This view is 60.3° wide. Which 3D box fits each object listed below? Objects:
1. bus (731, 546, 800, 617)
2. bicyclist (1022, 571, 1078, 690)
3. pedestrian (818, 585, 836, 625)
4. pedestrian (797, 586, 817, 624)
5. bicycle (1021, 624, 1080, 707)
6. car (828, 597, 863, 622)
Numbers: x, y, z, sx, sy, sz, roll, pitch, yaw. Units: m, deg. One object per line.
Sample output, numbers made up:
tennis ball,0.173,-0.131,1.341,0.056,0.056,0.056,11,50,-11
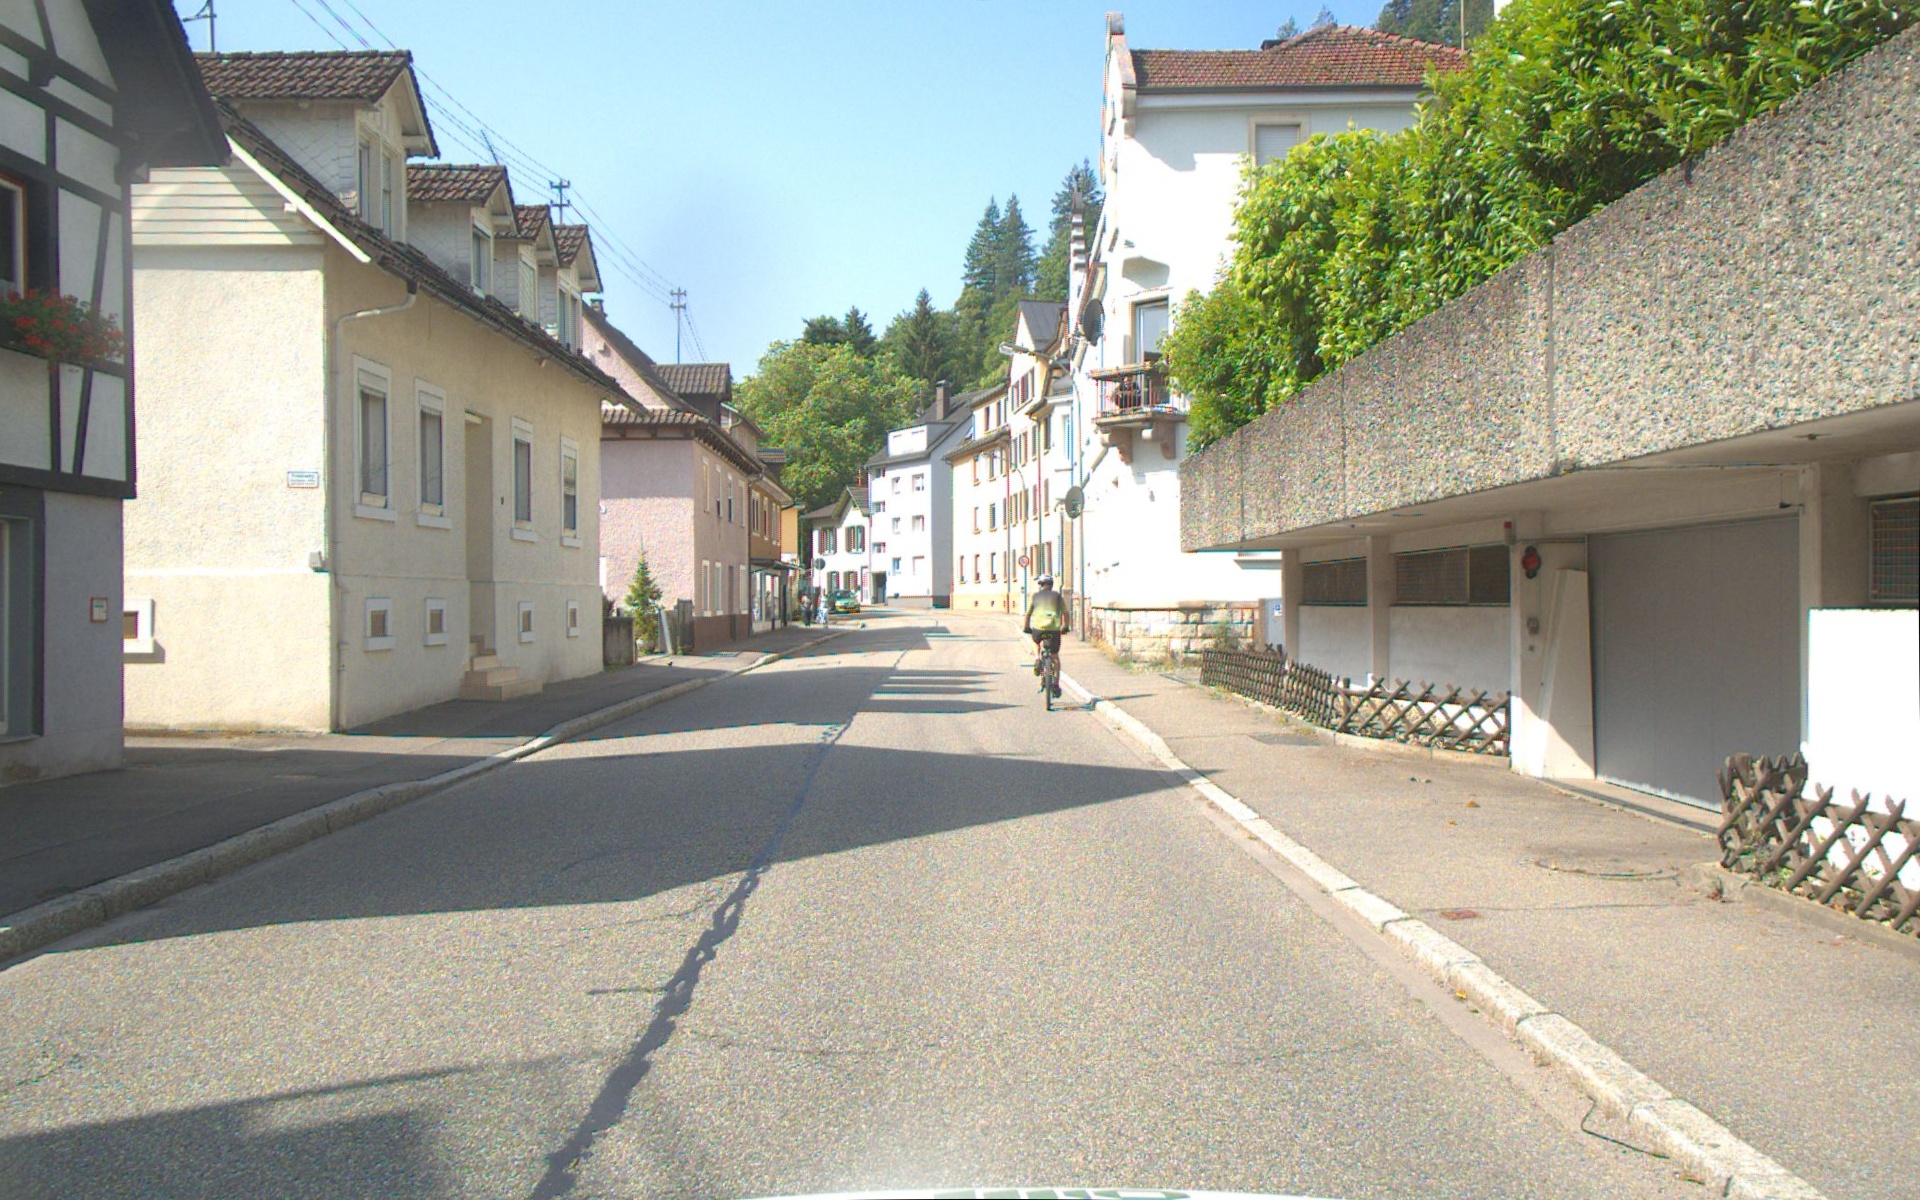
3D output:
bus,-9.554,-0.901,82.166,2.764,3.284,9.030,1,0,-3
bicyclist,1.204,0.408,22.236,0.672,1.558,0.715,-1,0,-2
pedestrian,-5.644,0.209,70.171,0.626,1.654,0.777,2,0,0
pedestrian,-6.512,0.206,70.295,0.720,1.592,0.824,2,0,0
bicycle,1.208,0.867,22.340,0.684,1.053,1.471,0,1,-2
car,-7.252,0.607,104.434,1.570,1.490,3.647,-4,0,-13
